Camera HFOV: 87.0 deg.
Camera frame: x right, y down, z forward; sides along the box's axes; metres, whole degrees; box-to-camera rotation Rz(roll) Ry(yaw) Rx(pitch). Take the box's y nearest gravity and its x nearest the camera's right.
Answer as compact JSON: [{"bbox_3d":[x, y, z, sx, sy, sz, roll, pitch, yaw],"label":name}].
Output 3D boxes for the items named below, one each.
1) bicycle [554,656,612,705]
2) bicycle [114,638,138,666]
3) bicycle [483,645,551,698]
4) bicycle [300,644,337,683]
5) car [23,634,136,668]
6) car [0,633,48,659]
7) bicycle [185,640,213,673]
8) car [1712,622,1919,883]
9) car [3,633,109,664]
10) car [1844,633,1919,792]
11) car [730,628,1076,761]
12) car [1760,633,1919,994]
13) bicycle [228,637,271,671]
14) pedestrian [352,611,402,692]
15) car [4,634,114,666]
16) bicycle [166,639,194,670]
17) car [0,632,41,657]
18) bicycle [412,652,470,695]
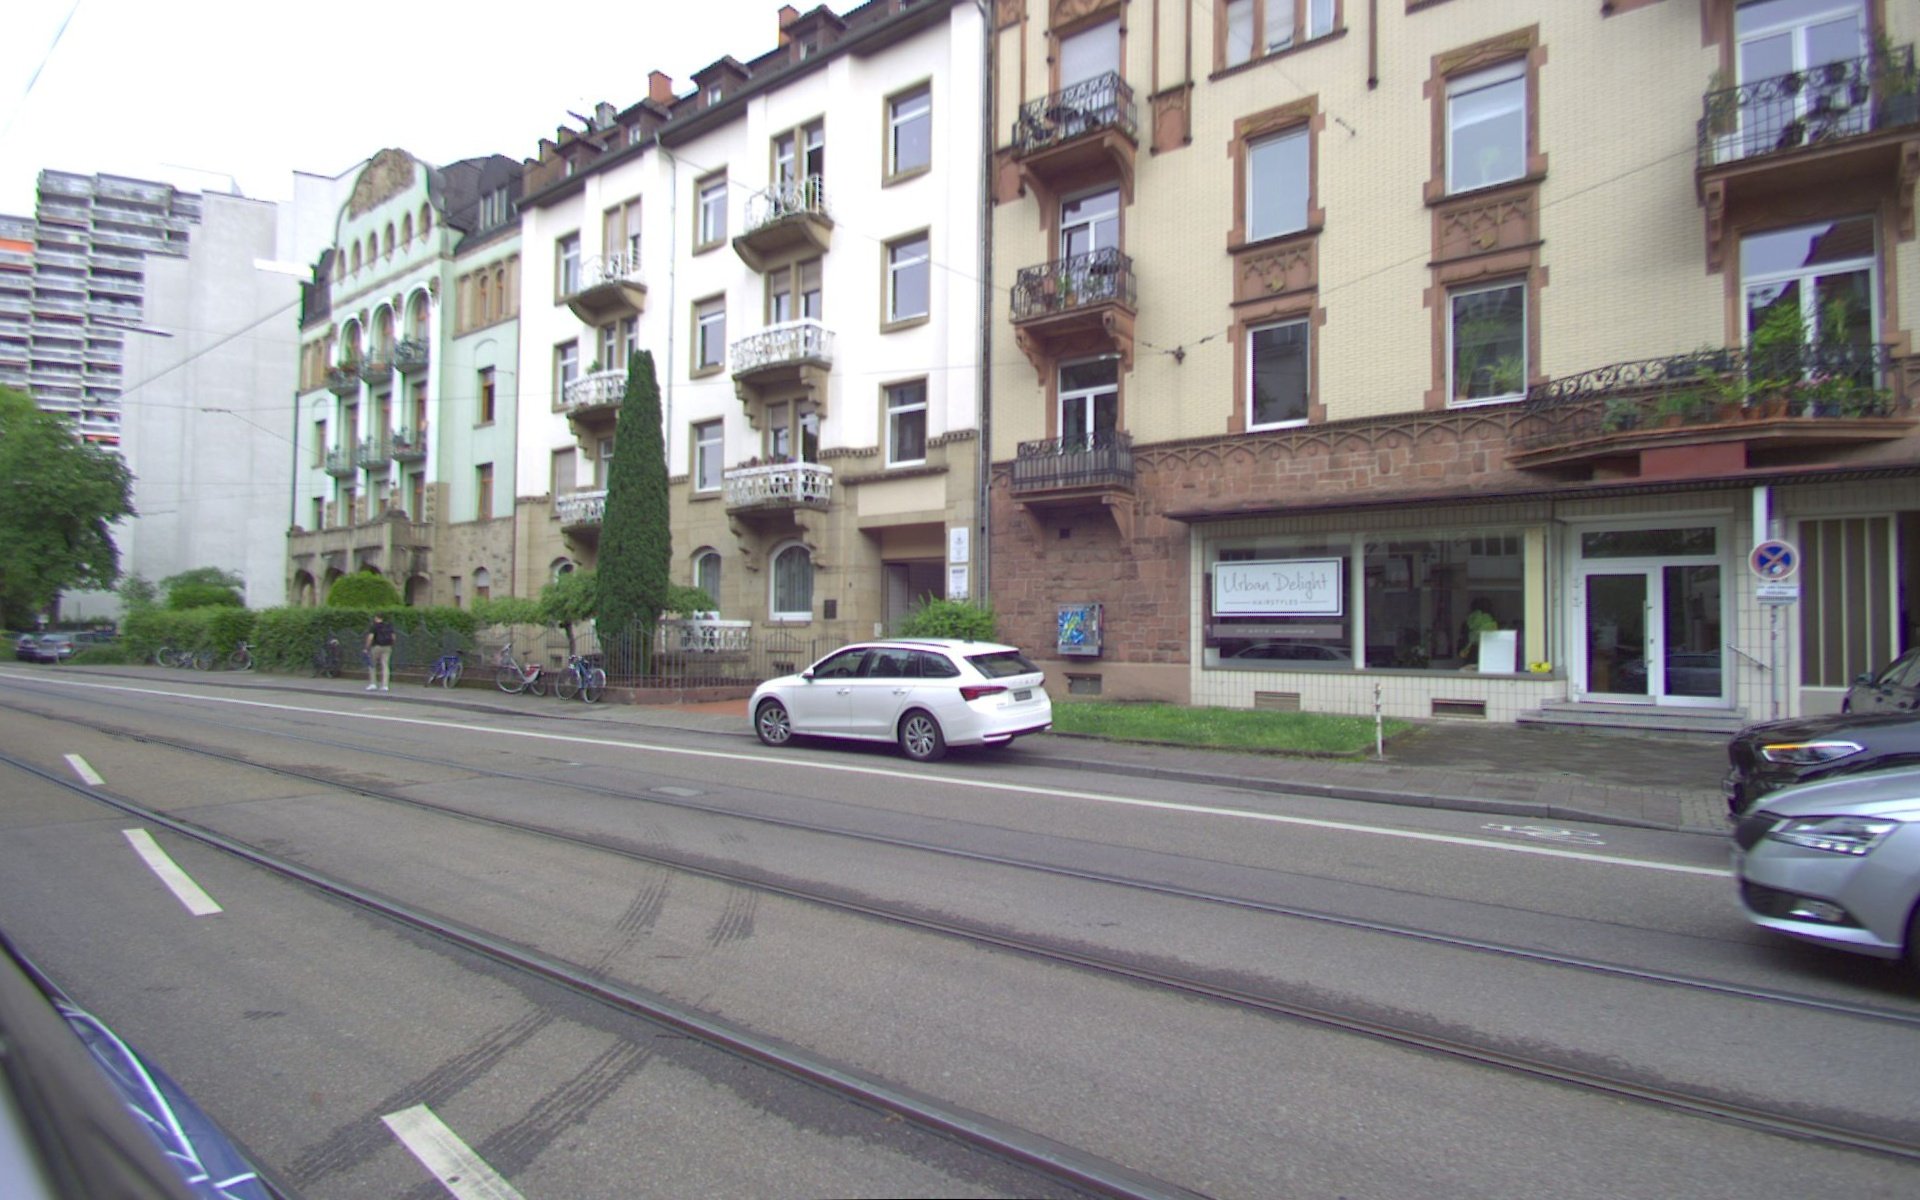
[{"bbox_3d":[-7.664,1.615,20.538,1.513,0.945,0.329,-1,-3,38],"label":"bicycle"},{"bbox_3d":[-33.012,2.051,40.058,1.544,1.092,0.356,-1,-3,38],"label":"bicycle"},{"bbox_3d":[-9.624,1.544,21.989,1.617,1.110,0.382,-1,-3,27],"label":"bicycle"},{"bbox_3d":[-18.247,1.796,28.761,1.544,1.092,0.356,-1,-3,38],"label":"bicycle"},{"bbox_3d":[-39.689,2.293,45.740,1.670,1.414,4.002,1,-3,-2],"label":"car"},{"bbox_3d":[-52.542,2.491,55.514,1.669,1.405,4.005,1,-3,-6],"label":"car"},{"bbox_3d":[-26.362,1.955,35.048,1.544,1.092,0.356,-1,-3,38],"label":"bicycle"},{"bbox_3d":[7.916,1.020,6.349,4.867,1.624,1.870,0,-5,29],"label":"car"},{"bbox_3d":[-44.241,2.378,49.651,1.670,1.414,4.002,1,-3,-2],"label":"car"},{"bbox_3d":[10.522,1.092,10.135,1.875,1.380,4.390,-1,0,33],"label":"car"},{"bbox_3d":[-0.874,1.148,13.566,4.601,1.496,1.731,-1,-3,37],"label":"car"},{"bbox_3d":[5.661,0.870,3.794,3.988,1.421,1.675,-1,-4,33],"label":"car"},{"bbox_3d":[-24.597,1.859,35.038,0.300,1.091,1.191,-2,-1,39],"label":"bicycle"},{"bbox_3d":[-13.597,1.193,23.601,0.880,1.858,0.662,-1,-4,37],"label":"pedestrian"},{"bbox_3d":[-42.035,2.307,47.328,1.670,1.414,4.002,1,-3,-2],"label":"car"},{"bbox_3d":[-27.918,1.939,36.219,1.544,1.092,0.356,-1,-3,38],"label":"bicycle"},{"bbox_3d":[-54.814,2.519,57.560,1.669,1.453,4.005,1,-3,-6],"label":"car"},{"bbox_3d":[-12.558,1.770,24.468,1.659,0.935,0.355,-3,-23,40],"label":"bicycle"}]
